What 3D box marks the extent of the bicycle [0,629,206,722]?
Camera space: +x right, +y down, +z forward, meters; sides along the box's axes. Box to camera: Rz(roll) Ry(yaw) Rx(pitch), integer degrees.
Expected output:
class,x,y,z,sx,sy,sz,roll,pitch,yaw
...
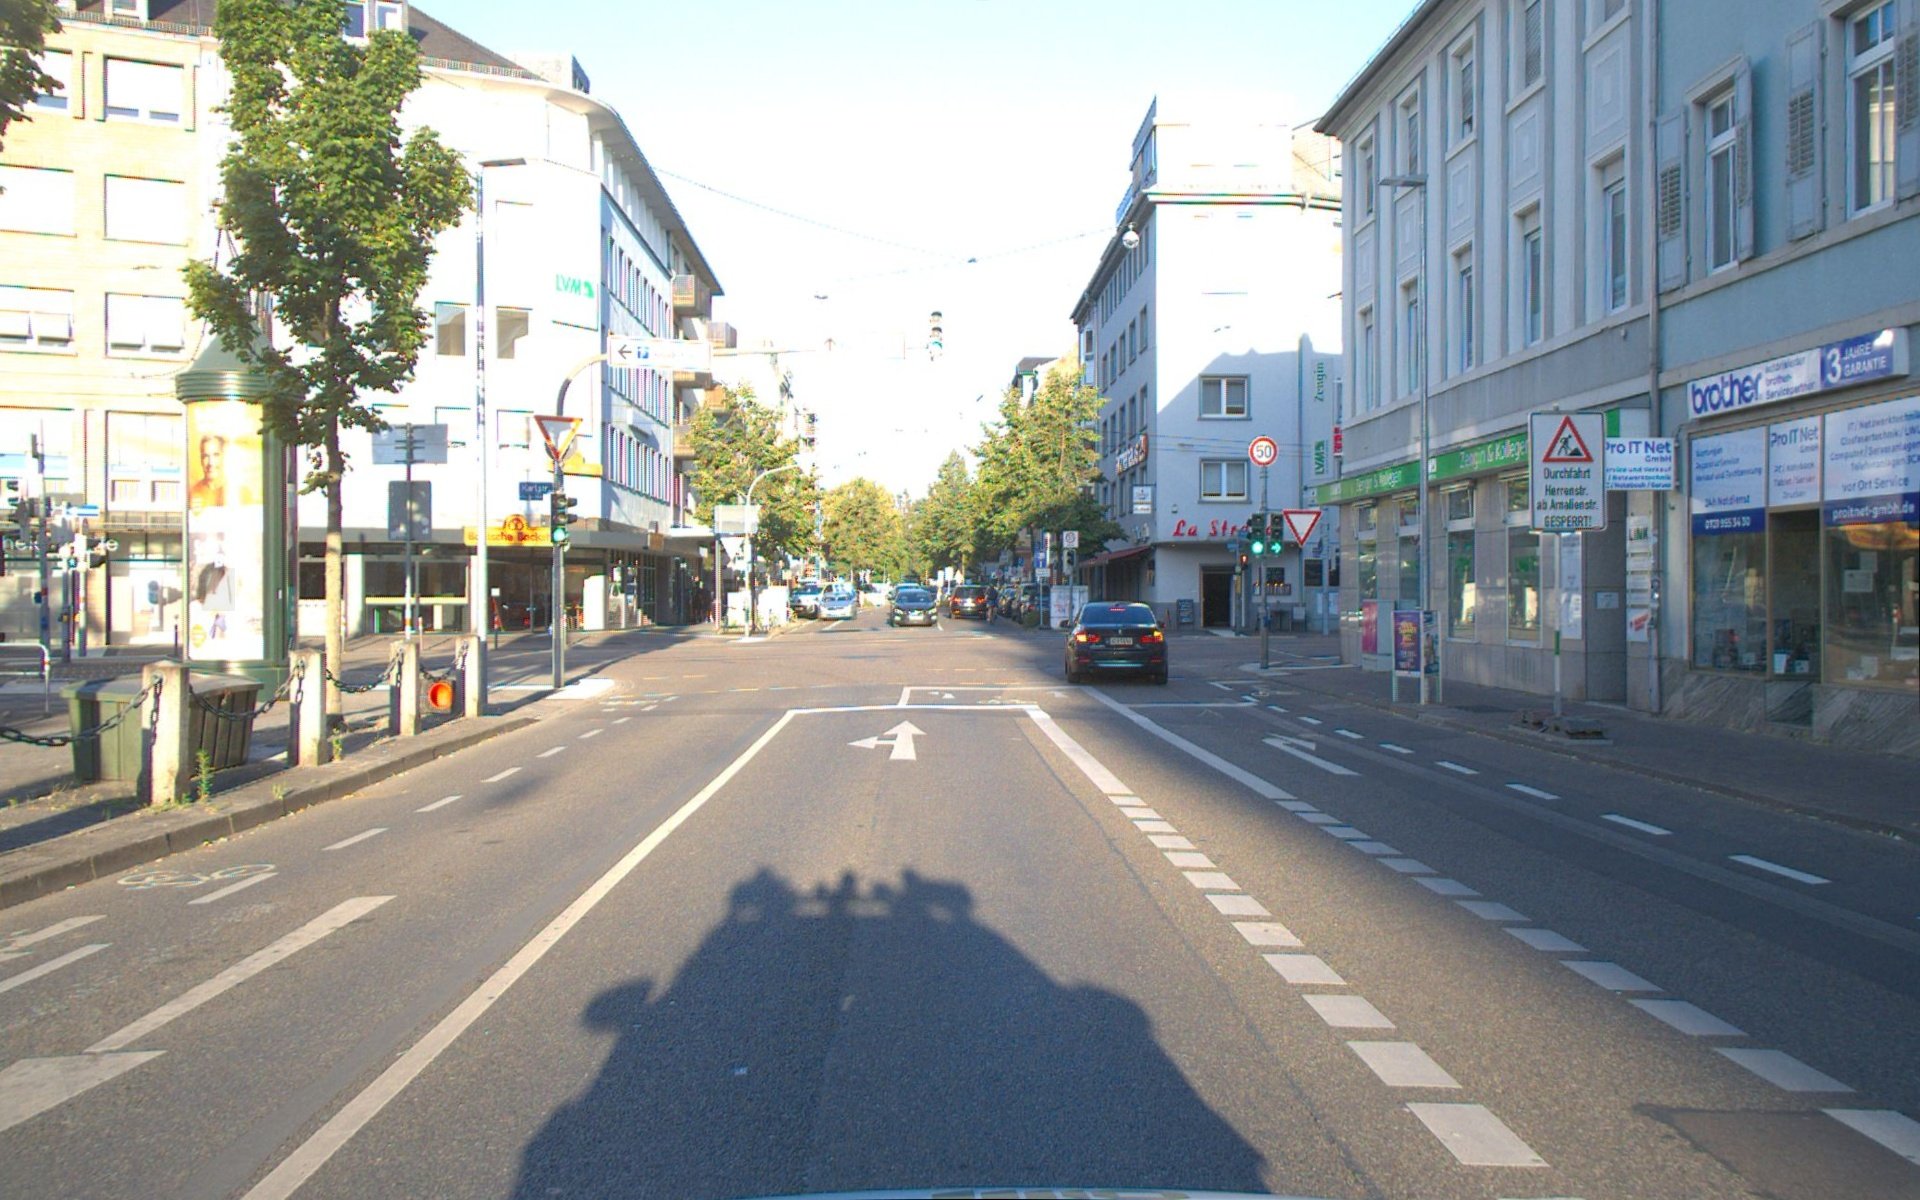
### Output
class,x,y,z,sx,sy,sz,roll,pitch,yaw
bicycle,-10.543,0.883,19.540,2.881,1.040,0.843,0,0,1

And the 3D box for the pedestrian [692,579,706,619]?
class,x,y,z,sx,sy,sz,roll,pitch,yaw
pedestrian,-11.646,-0.050,73.801,0.590,1.751,0.575,0,0,-16

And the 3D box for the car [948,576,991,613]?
class,x,y,z,sx,sy,sz,roll,pitch,yaw
car,0.436,-0.273,80.463,1.953,1.780,3.999,0,1,-1

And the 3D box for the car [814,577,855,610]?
class,x,y,z,sx,sy,sz,roll,pitch,yaw
car,-6.932,-0.379,91.514,1.953,1.780,4.000,0,0,0

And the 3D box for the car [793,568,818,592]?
class,x,y,z,sx,sy,sz,roll,pitch,yaw
car,-13.199,-1.715,141.277,1.790,2.049,3.676,0,0,0

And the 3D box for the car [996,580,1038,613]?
class,x,y,z,sx,sy,sz,roll,pitch,yaw
car,2.946,-0.198,86.332,1.953,1.645,3.999,0,0,-1

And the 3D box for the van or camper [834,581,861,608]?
class,x,y,z,sx,sy,sz,roll,pitch,yaw
van or camper,-10.375,-0.483,152.609,2.424,2.447,3.996,0,0,-5

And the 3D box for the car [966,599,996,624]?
class,x,y,z,sx,sy,sz,roll,pitch,yaw
car,1.458,0.791,113.742,1.746,1.624,3.631,0,0,-4

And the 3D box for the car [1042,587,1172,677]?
class,x,y,z,sx,sy,sz,roll,pitch,yaw
car,2.606,0.531,30.239,1.851,1.518,4.202,0,0,-3

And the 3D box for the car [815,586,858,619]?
class,x,y,z,sx,sy,sz,roll,pitch,yaw
car,-6.119,0.094,82.311,1.855,1.624,4.000,0,0,0

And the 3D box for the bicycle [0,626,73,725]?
class,x,y,z,sx,sy,sz,roll,pitch,yaw
bicycle,-11.220,0.844,18.647,2.049,1.082,0.681,0,0,-1

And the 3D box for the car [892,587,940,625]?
class,x,y,z,sx,sy,sz,roll,pitch,yaw
car,-1.778,0.224,67.516,1.846,1.512,4.000,0,1,0

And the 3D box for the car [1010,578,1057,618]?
class,x,y,z,sx,sy,sz,roll,pitch,yaw
car,3.414,-0.086,77.095,1.953,1.810,3.999,0,0,-1

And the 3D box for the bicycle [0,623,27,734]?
class,x,y,z,sx,sy,sz,roll,pitch,yaw
bicycle,-11.133,0.832,17.299,2.276,1.151,0.800,0,0,0
